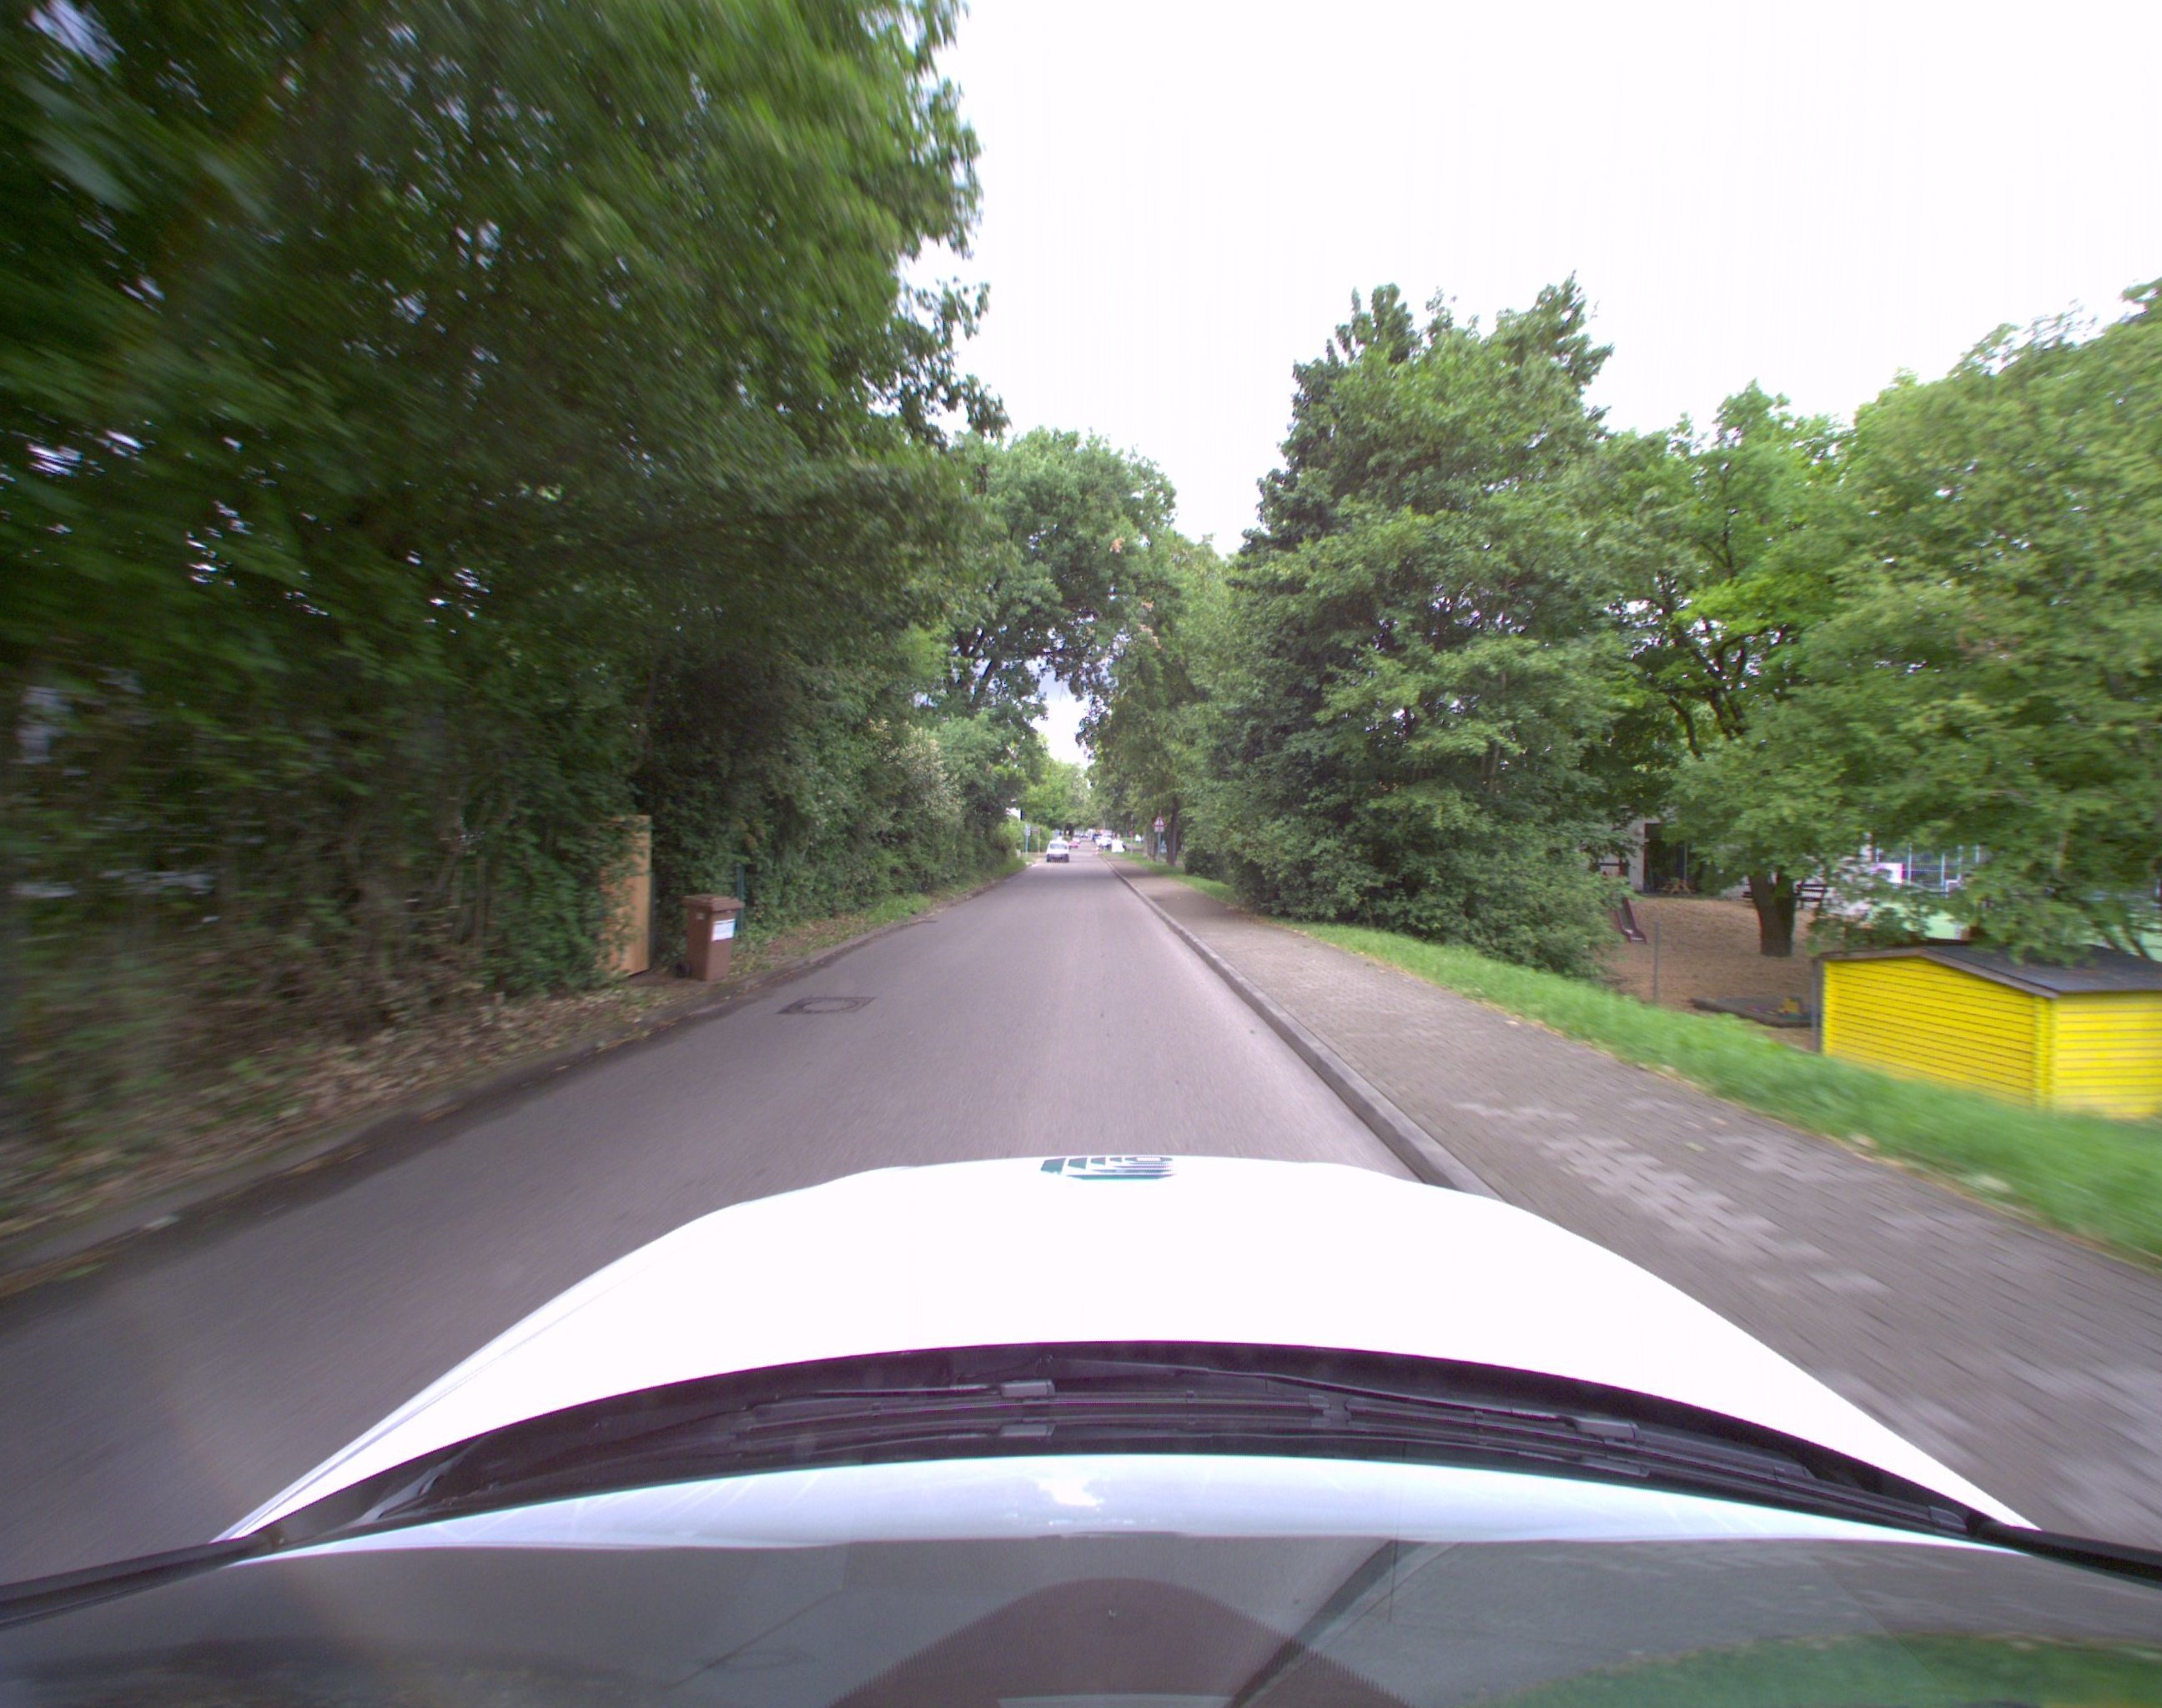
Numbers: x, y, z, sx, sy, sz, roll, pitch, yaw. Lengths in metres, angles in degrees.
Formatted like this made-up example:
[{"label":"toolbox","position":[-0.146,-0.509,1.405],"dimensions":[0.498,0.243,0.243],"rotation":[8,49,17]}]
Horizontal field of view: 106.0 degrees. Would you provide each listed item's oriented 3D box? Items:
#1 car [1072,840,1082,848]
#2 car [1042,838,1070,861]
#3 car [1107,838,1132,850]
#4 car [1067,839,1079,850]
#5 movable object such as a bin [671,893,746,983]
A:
[{"label":"car","position":[-0.831,-2.239,182.932],"dimensions":[1.986,1.772,4.001],"rotation":[1,-1,2]},{"label":"car","position":[-2.015,-0.333,67.035],"dimensions":[1.986,1.772,4.001],"rotation":[1,-1,2]},{"label":"car","position":[6.148,-1.653,131.546],"dimensions":[3.972,1.772,2.000],"rotation":[1,-1,1]},{"label":"car","position":[-1.385,-1.597,142.784],"dimensions":[1.986,1.772,4.001],"rotation":[1,-1,2]},{"label":"movable object such as a bin","position":[-4.154,0.929,9.108],"dimensions":[0.588,0.957,0.470],"rotation":[1,-1,1]}]
